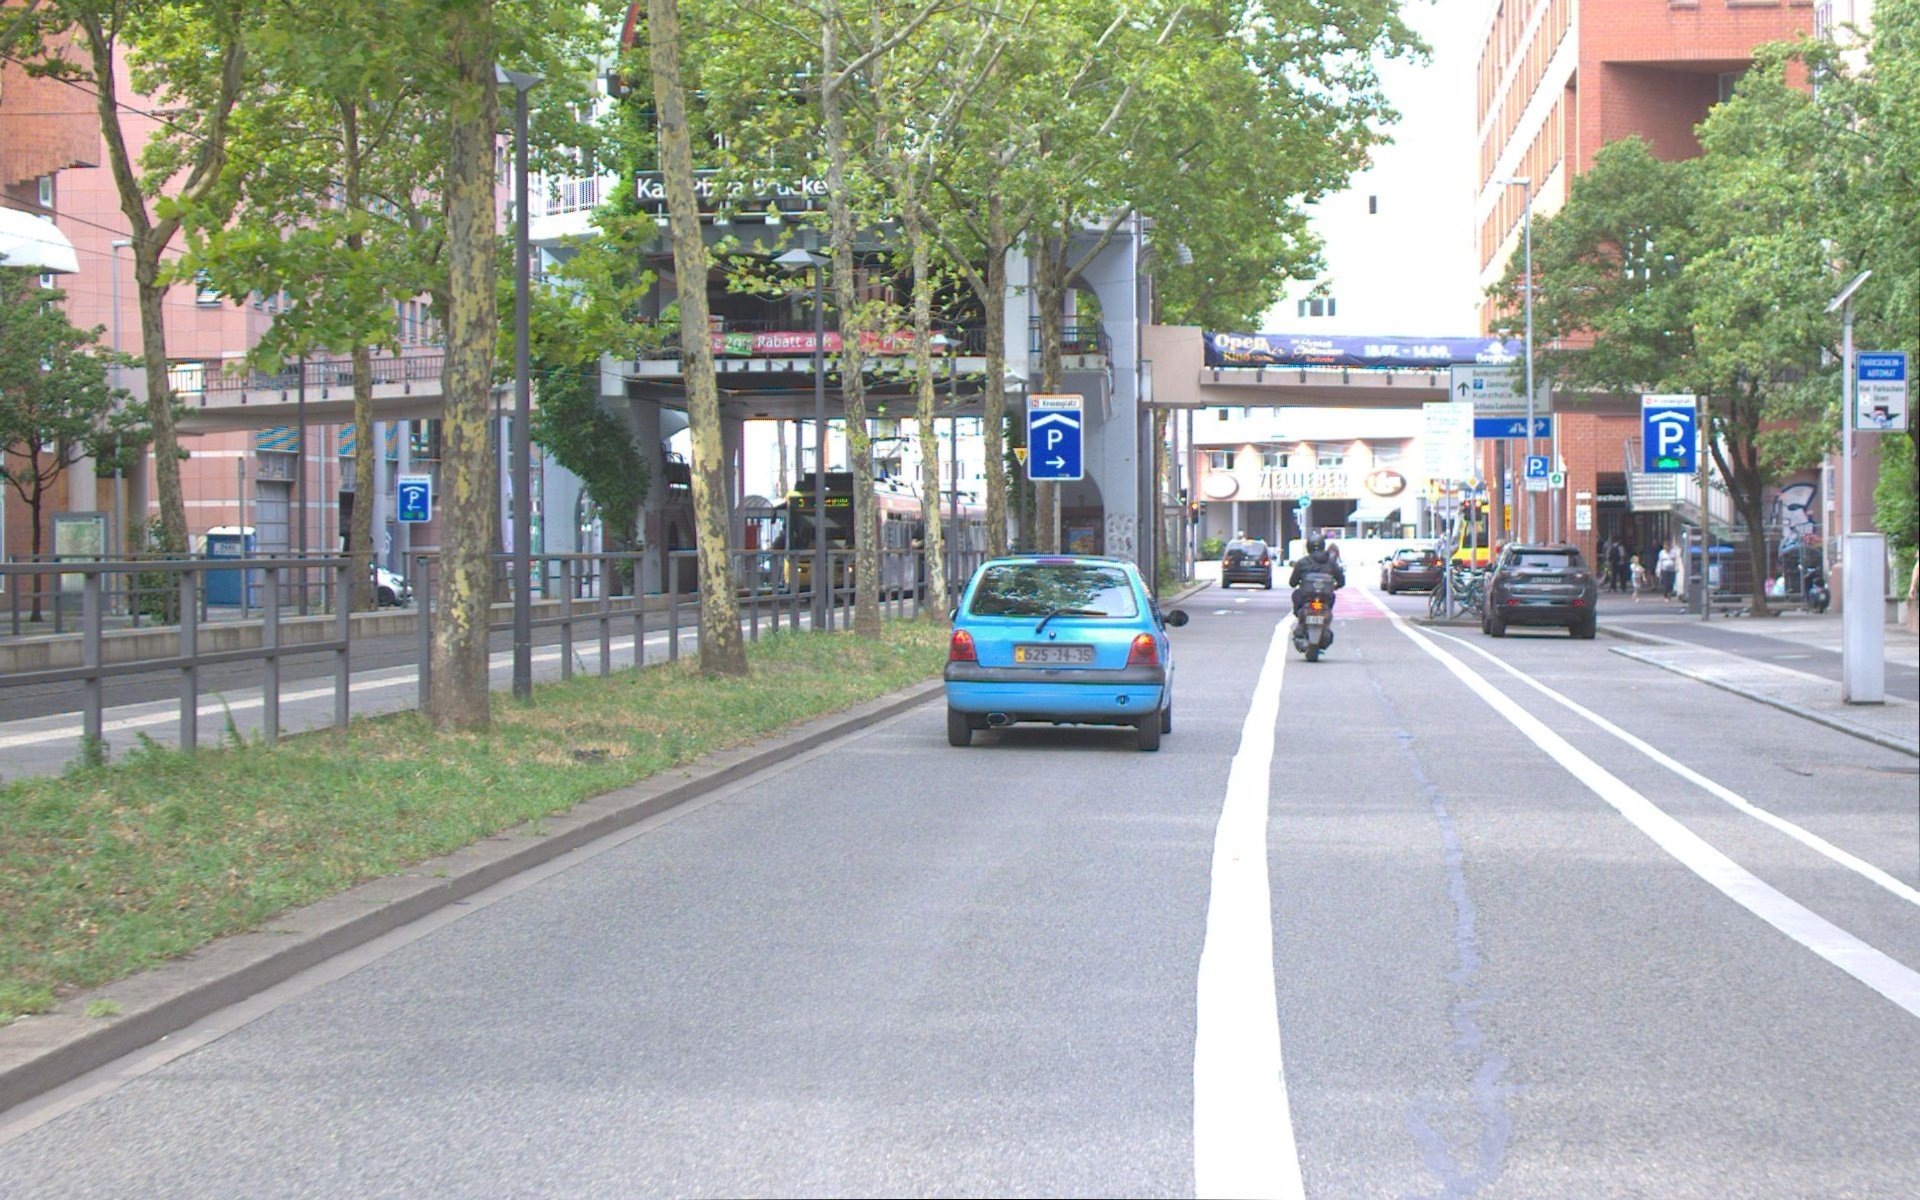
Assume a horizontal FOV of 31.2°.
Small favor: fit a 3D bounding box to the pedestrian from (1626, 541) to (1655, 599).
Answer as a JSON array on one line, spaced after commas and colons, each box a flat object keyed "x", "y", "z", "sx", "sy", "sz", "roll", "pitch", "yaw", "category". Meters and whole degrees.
[{"x": 18.305, "y": -0.813, "z": 92.483, "sx": 0.669, "sy": 1.556, "sz": 0.728, "roll": 0, "pitch": 1, "yaw": 2, "category": "pedestrian"}]

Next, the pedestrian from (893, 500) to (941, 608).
[{"x": -0.740, "y": -0.797, "z": 59.682, "sx": 0.728, "sy": 1.852, "sz": 0.870, "roll": 0, "pitch": 1, "yaw": 7, "category": "pedestrian"}]

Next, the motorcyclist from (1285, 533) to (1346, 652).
[{"x": 4.613, "y": -0.106, "z": 44.694, "sx": 0.759, "sy": 1.514, "sz": 1.017, "roll": -1, "pitch": 1, "yaw": 5, "category": "motorcyclist"}]

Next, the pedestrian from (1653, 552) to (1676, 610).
[{"x": 18.958, "y": -0.506, "z": 92.558, "sx": 0.545, "sy": 1.556, "sz": 0.615, "roll": 0, "pitch": 1, "yaw": 6, "category": "pedestrian"}]

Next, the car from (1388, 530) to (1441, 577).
[{"x": 15.417, "y": -1.593, "z": 116.742, "sx": 1.699, "sy": 1.596, "sz": 3.999, "roll": 0, "pitch": 1, "yaw": 7, "category": "car"}]

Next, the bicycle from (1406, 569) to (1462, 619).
[{"x": 9.819, "y": -0.133, "z": 71.271, "sx": 0.563, "sy": 1.005, "sz": 2.010, "roll": 0, "pitch": 1, "yaw": -9, "category": "bicycle"}]

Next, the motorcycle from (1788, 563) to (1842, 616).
[{"x": 18.635, "y": -0.238, "z": 74.976, "sx": 0.756, "sy": 1.133, "sz": 2.435, "roll": 0, "pitch": 1, "yaw": 5, "category": "motorcycle"}]

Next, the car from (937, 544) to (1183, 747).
[{"x": 0.828, "y": 0.289, "z": 26.178, "sx": 1.641, "sy": 1.381, "sz": 3.842, "roll": 0, "pitch": 2, "yaw": 5, "category": "car"}]

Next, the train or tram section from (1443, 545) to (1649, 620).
[{"x": 26.245, "y": -0.791, "z": 154.025, "sx": 8.786, "sy": 3.242, "sz": 2.397, "roll": -1, "pitch": 1, "yaw": -11, "category": "train or tram section"}]

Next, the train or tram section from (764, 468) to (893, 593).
[{"x": -3.533, "y": -1.900, "z": 94.616, "sx": 2.389, "sy": 3.242, "sz": 8.817, "roll": 0, "pitch": 1, "yaw": 5, "category": "train or tram section"}]

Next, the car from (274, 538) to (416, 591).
[{"x": -18.843, "y": -1.092, "z": 105.385, "sx": 3.987, "sy": 1.618, "sz": 1.805, "roll": 0, "pitch": 1, "yaw": 3, "category": "car"}]

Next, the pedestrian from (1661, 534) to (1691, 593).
[{"x": 19.068, "y": -0.978, "z": 91.588, "sx": 0.669, "sy": 1.556, "sz": 0.728, "roll": 0, "pitch": 1, "yaw": 2, "category": "pedestrian"}]

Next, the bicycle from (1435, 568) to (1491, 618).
[{"x": 10.461, "y": -0.146, "z": 71.522, "sx": 0.563, "sy": 1.005, "sz": 2.010, "roll": 0, "pitch": 1, "yaw": -9, "category": "bicycle"}]

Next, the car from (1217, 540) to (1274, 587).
[{"x": 10.206, "y": -1.316, "z": 122.649, "sx": 1.887, "sy": 1.618, "sz": 3.999, "roll": 0, "pitch": 1, "yaw": 7, "category": "car"}]

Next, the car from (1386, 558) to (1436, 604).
[{"x": 16.006, "y": -0.688, "z": 122.084, "sx": 1.699, "sy": 1.596, "sz": 3.999, "roll": 0, "pitch": 1, "yaw": 7, "category": "car"}]

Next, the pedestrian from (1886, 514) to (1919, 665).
[{"x": 11.815, "y": -0.137, "z": 42.359, "sx": 0.646, "sy": 1.852, "sz": 0.782, "roll": 0, "pitch": 1, "yaw": 5, "category": "pedestrian"}]

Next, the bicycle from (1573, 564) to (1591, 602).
[{"x": 15.565, "y": -0.437, "z": 85.981, "sx": 0.356, "sy": 0.936, "sz": 1.208, "roll": 0, "pitch": 1, "yaw": 6, "category": "bicycle"}]

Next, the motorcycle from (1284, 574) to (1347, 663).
[{"x": 4.604, "y": 0.226, "z": 44.623, "sx": 0.767, "sy": 1.103, "sz": 2.208, "roll": -1, "pitch": 1, "yaw": 5, "category": "motorcycle"}]

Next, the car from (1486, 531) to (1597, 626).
[{"x": 10.102, "y": -0.408, "z": 59.914, "sx": 1.699, "sy": 1.596, "sz": 3.999, "roll": 0, "pitch": 1, "yaw": 7, "category": "car"}]
